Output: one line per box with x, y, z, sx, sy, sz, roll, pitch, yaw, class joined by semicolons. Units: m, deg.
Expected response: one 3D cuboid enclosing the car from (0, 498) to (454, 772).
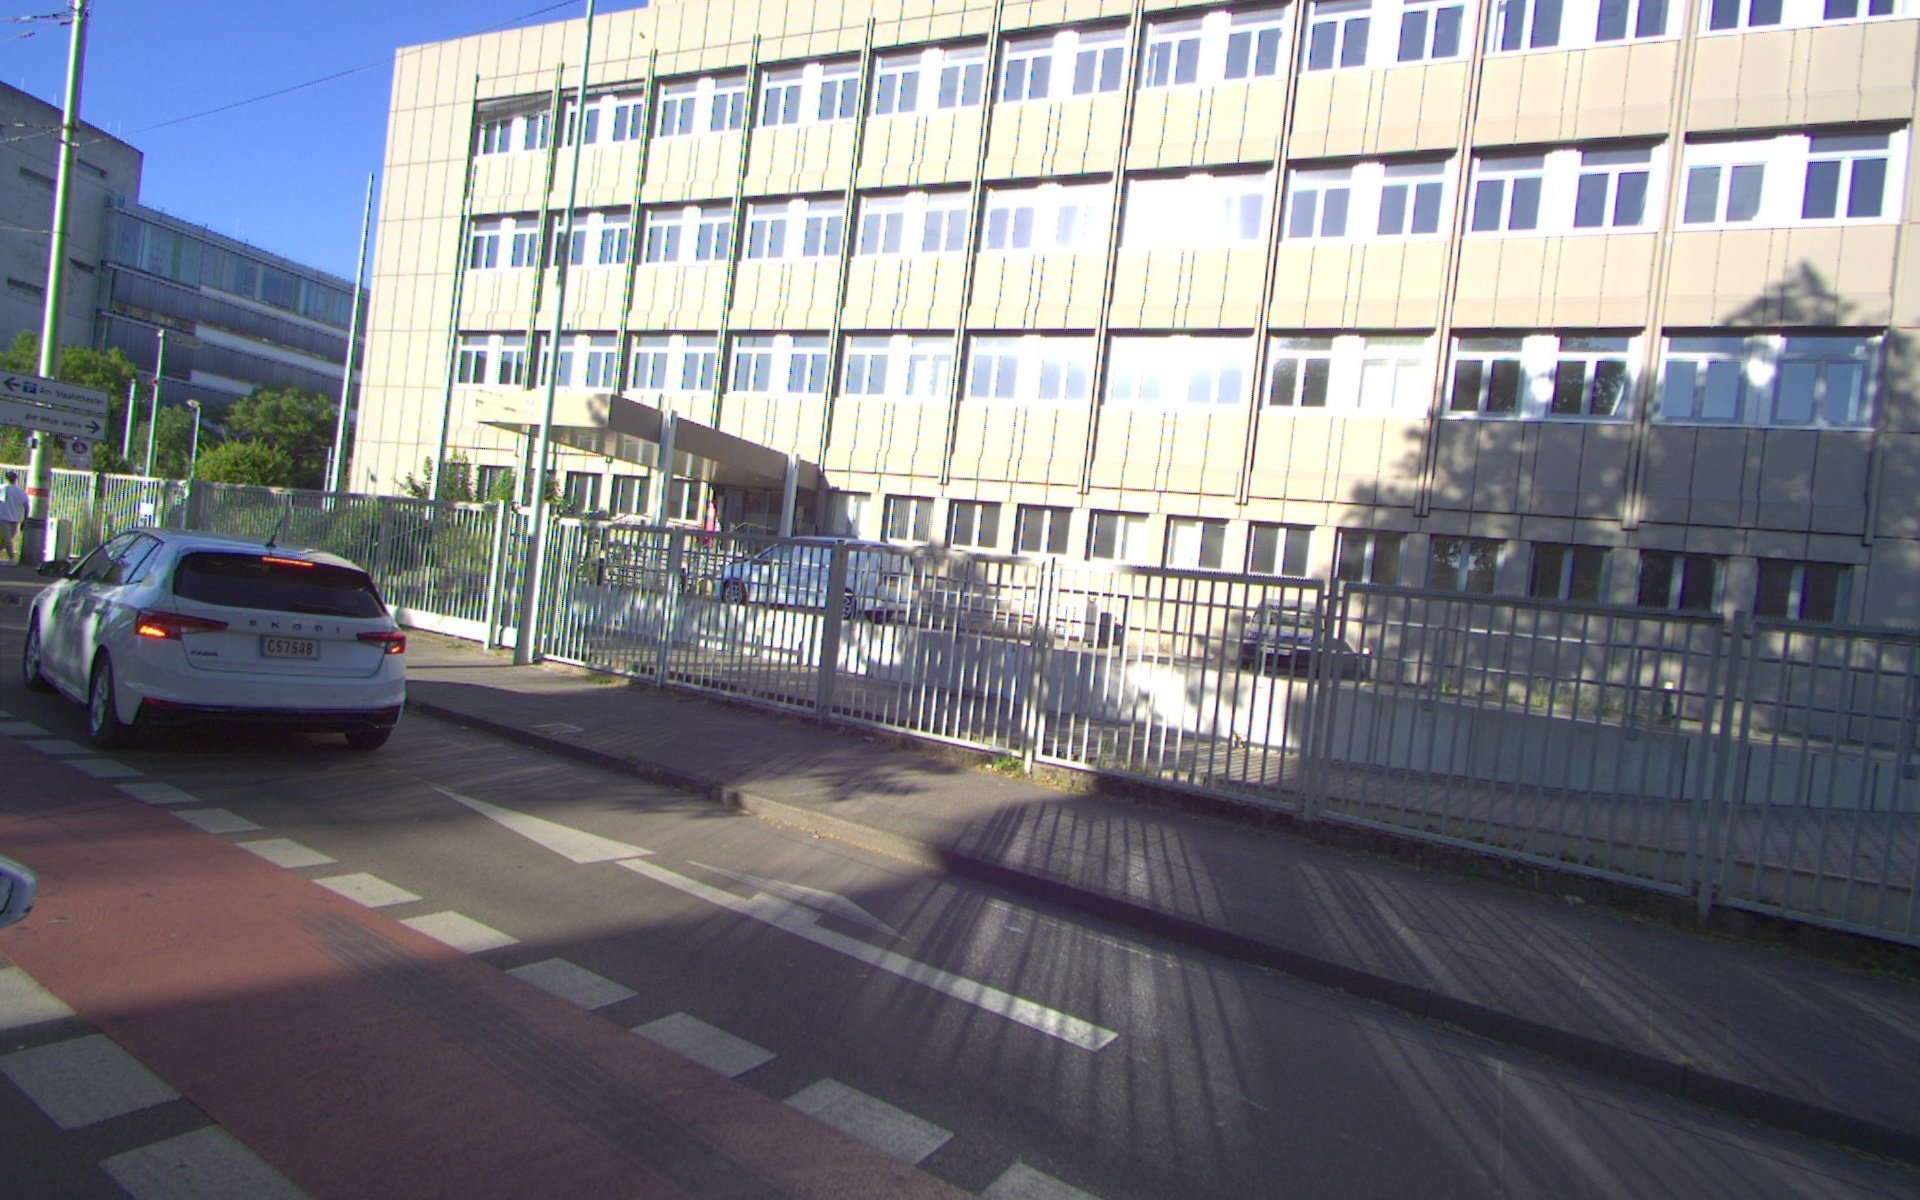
-5.773;0.162;7.750;3.923;1.519;1.801;6;-1;39;car

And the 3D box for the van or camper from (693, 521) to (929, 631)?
-3.433;-0.556;23.138;4.909;1.933;1.985;7;1;23;van or camper

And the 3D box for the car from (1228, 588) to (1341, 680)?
7.706;0.828;23.619;1.957;1.739;4.263;7;0;23;car

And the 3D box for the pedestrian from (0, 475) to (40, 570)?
-18.482;-1.508;19.315;0.757;1.771;0.788;6;1;3;pedestrian
